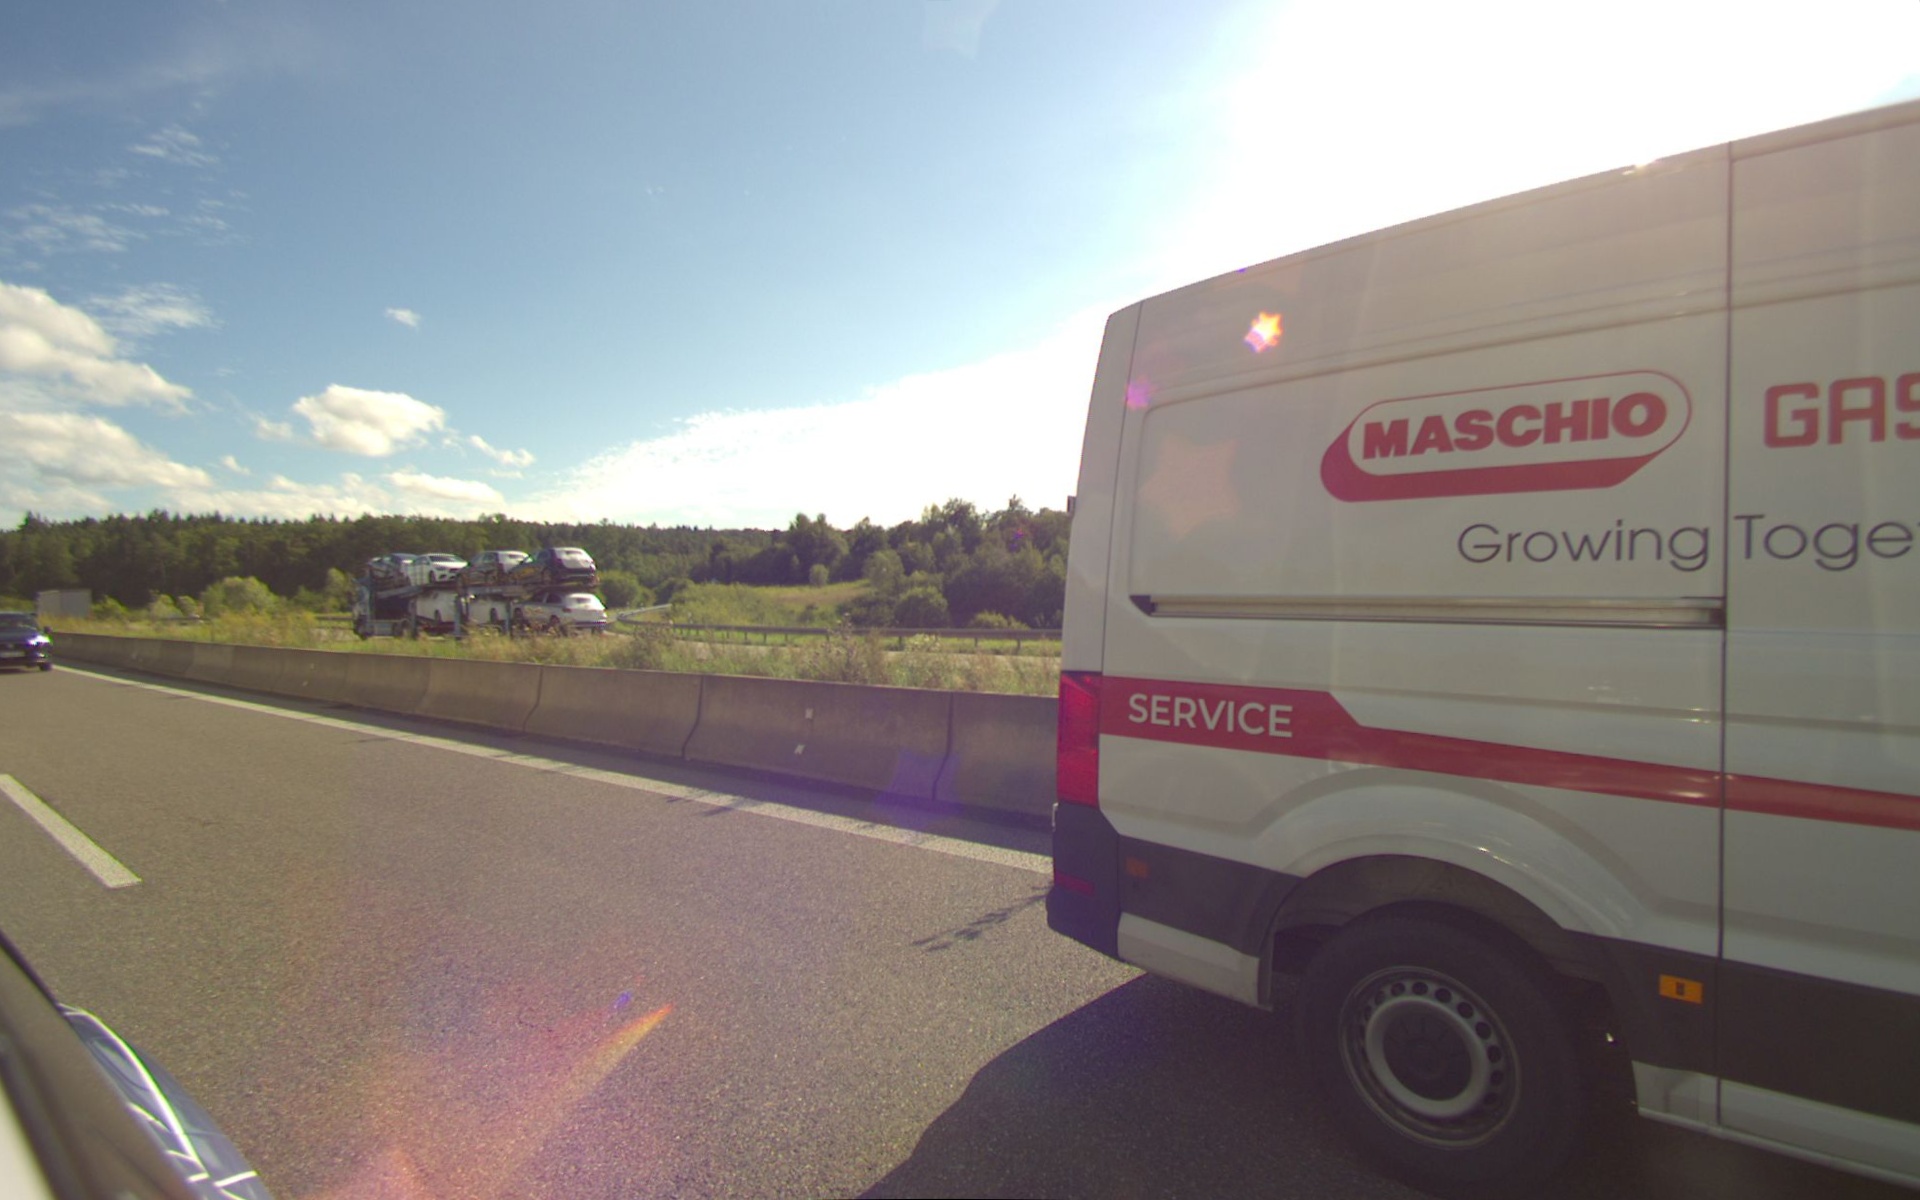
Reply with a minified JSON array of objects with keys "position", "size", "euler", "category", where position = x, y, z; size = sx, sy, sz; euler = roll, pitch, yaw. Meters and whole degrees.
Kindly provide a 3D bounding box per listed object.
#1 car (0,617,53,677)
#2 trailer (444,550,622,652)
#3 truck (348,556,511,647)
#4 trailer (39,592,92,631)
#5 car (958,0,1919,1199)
[{"position":[-26.376,1.245,27.773],"size":[4.157,1.554,1.755],"euler":[-1,-1,42],"category":"car"},{"position":[-16.746,0.068,39.270],"size":[8.950,3.555,2.769],"euler":[-1,-1,41],"category":"trailer"},{"position":[-24.311,0.133,45.981],"size":[11.128,3.717,2.802],"euler":[-1,-1,42],"category":"truck"},{"position":[-96.834,1.231,109.428],"size":[13.546,4.022,2.802],"euler":[-1,0,42],"category":"trailer"},{"position":[2.983,0.089,2.122],"size":[6.177,2.619,1.994],"euler":[-1,-1,41],"category":"car"}]
